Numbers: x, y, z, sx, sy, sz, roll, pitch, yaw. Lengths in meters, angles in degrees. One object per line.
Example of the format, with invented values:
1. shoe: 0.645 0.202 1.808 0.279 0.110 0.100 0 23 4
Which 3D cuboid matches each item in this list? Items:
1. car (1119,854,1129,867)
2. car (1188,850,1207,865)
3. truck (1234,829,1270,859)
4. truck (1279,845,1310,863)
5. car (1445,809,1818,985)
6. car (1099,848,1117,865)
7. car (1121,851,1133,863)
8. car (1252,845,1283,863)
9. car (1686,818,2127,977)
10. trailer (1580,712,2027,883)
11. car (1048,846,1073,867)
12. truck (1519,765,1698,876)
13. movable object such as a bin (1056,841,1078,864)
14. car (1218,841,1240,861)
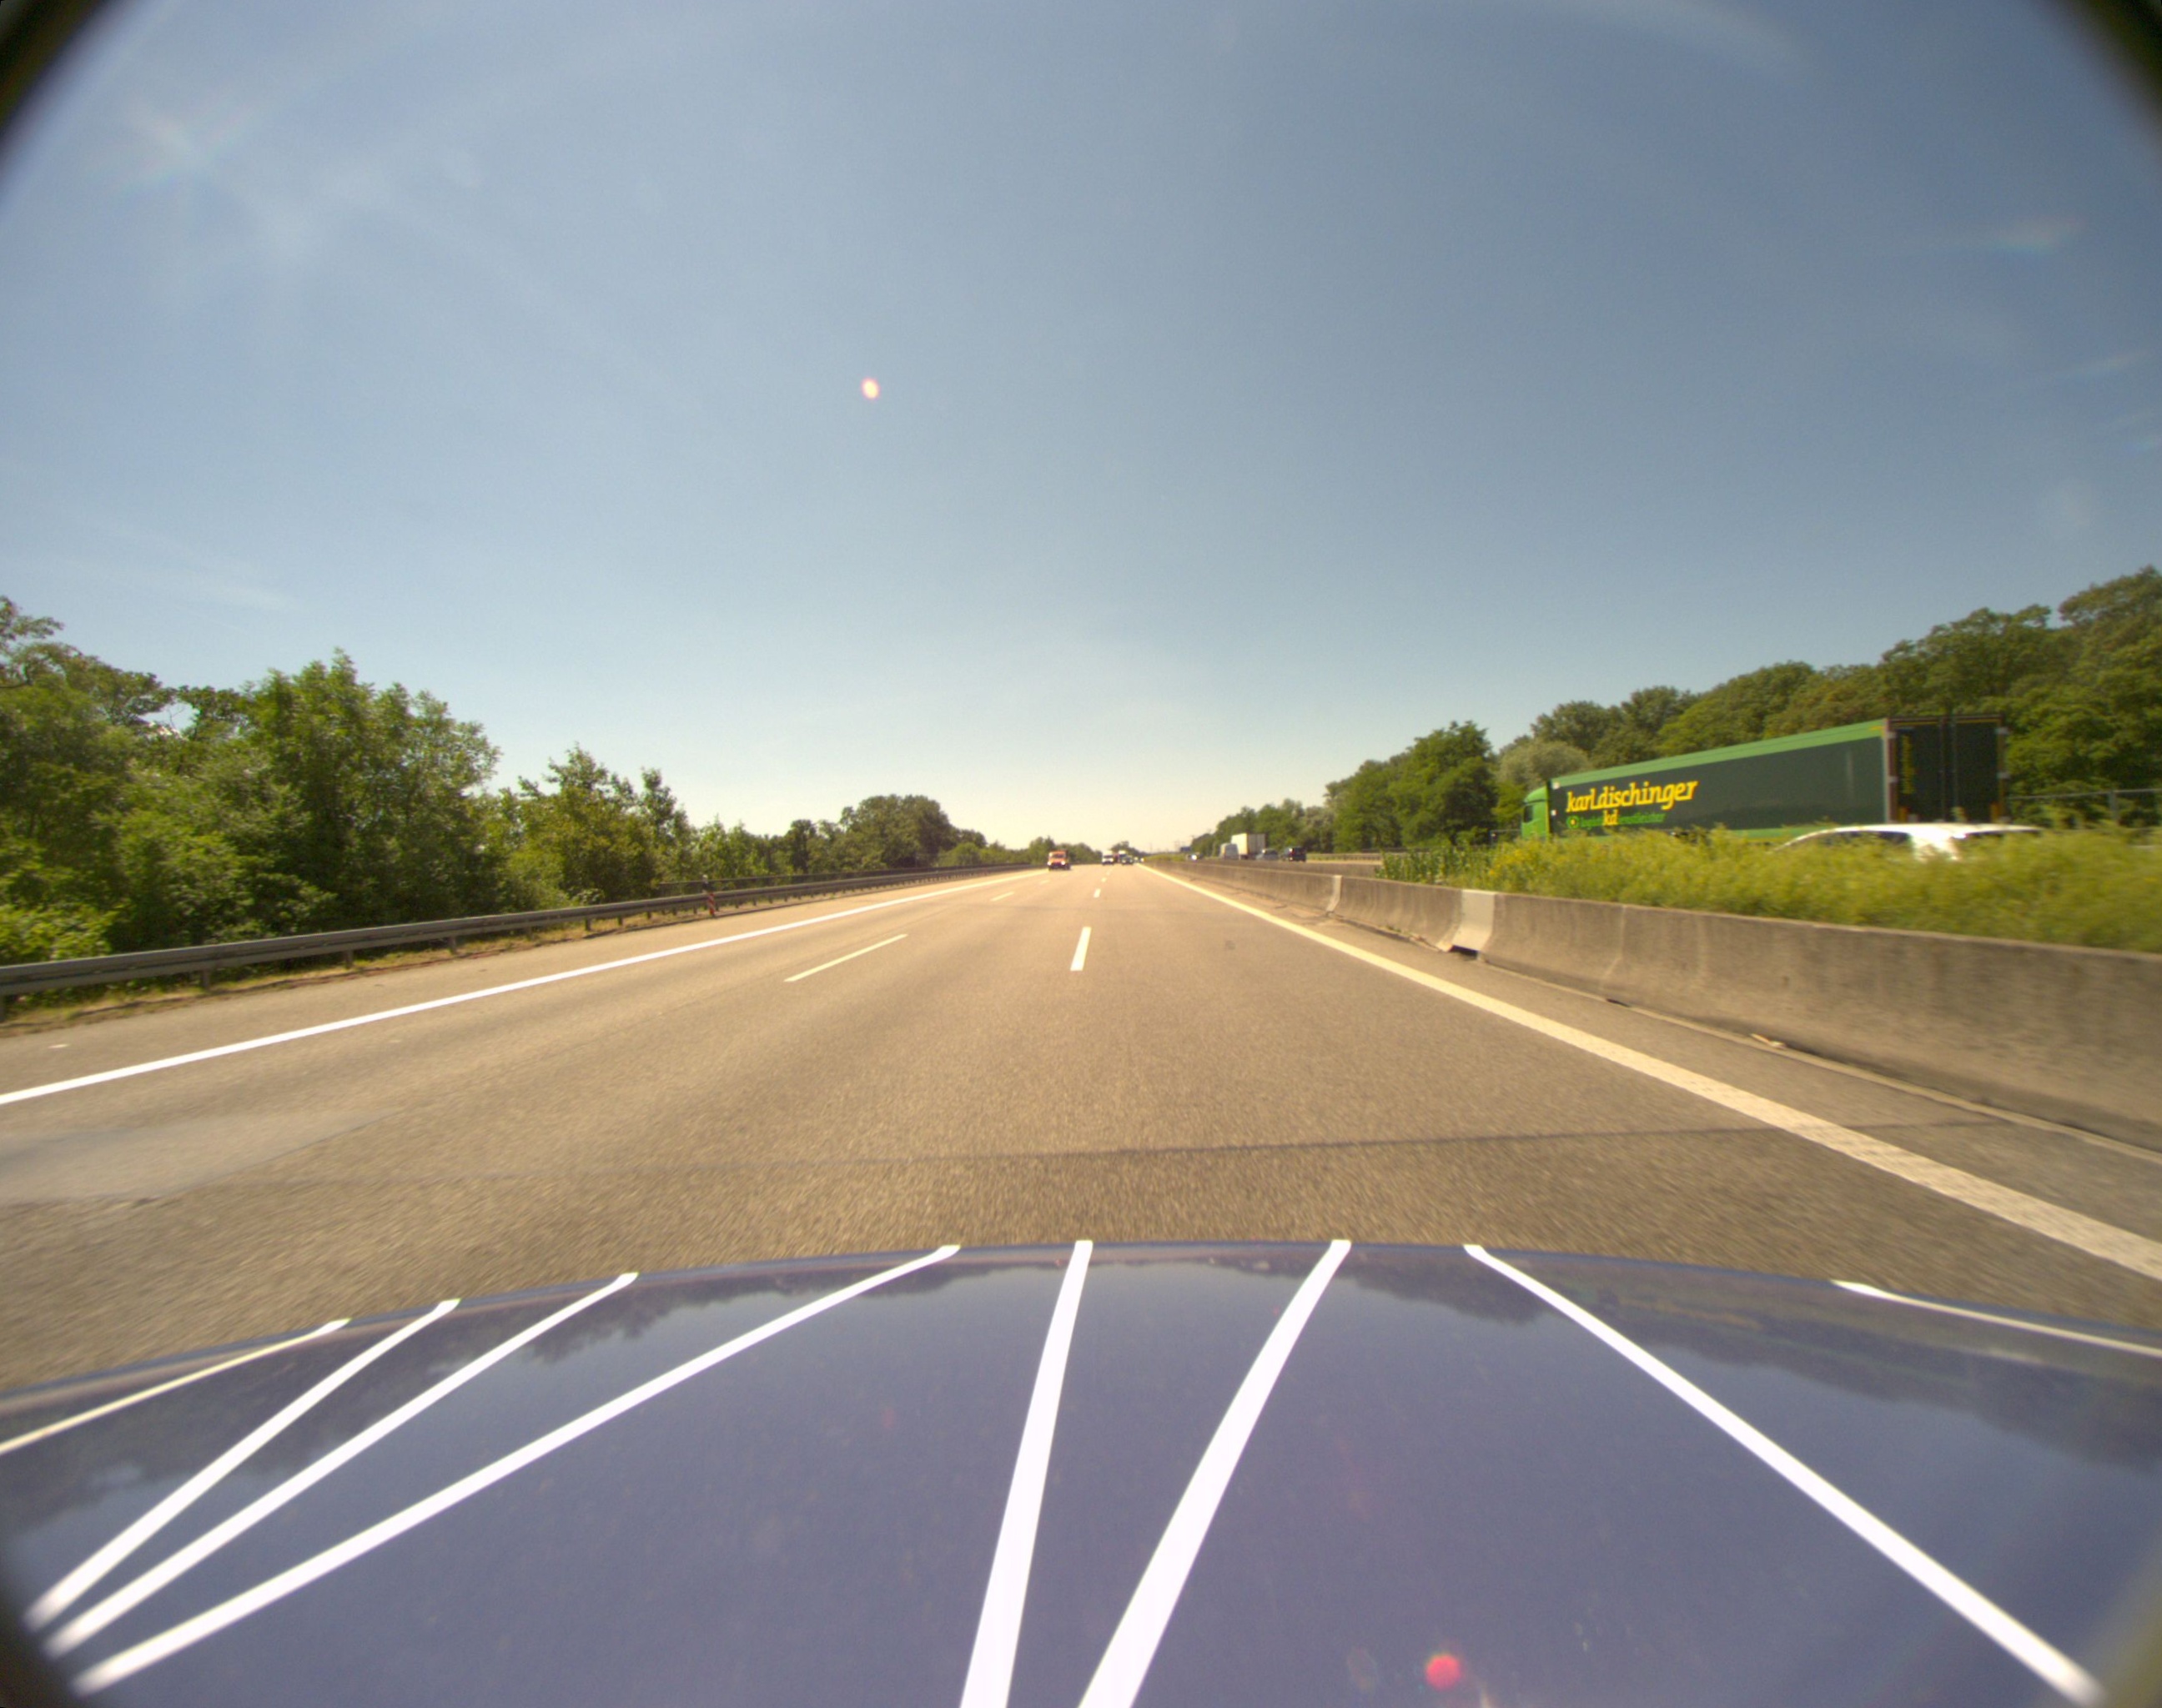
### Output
1. car: 14.570 2.171 257.665 2.796 4.089 7.309 -3 0 4
2. car: 15.447 0.408 100.882 1.998 1.838 4.000 -3 0 1
3. truck: 24.421 -1.297 109.250 3.056 3.953 11.152 -2 0 3
4. truck: 22.731 -0.004 81.201 1.998 1.790 4.743 -3 0 1
5. car: 7.550 0.499 11.244 2.297 2.002 4.712 -2 0 4
6. car: 5.160 0.532 143.782 2.521 2.856 6.405 -6 -2 8
7. car: 7.865 0.471 129.280 1.998 2.002 4.001 -2 0 3
8. car: 18.522 0.001 75.697 2.004 1.702 4.540 -2 0 2
9. car: 11.426 0.510 11.064 1.998 1.829 4.074 -2 0 1
10. trailer: 20.602 -1.324 23.503 2.931 3.840 11.868 -2 0 3
11. car: -2.441 0.314 93.630 1.997 2.390 7.231 -3 -1 7
12. truck: 20.975 -1.201 30.771 2.929 3.917 6.500 -2 0 4
13. movable object such as a bin: -1.764 -0.157 99.647 2.178 2.798 4.764 -3 -1 7
14. car: 20.103 -0.459 103.430 1.998 2.553 6.129 -2 0 2
